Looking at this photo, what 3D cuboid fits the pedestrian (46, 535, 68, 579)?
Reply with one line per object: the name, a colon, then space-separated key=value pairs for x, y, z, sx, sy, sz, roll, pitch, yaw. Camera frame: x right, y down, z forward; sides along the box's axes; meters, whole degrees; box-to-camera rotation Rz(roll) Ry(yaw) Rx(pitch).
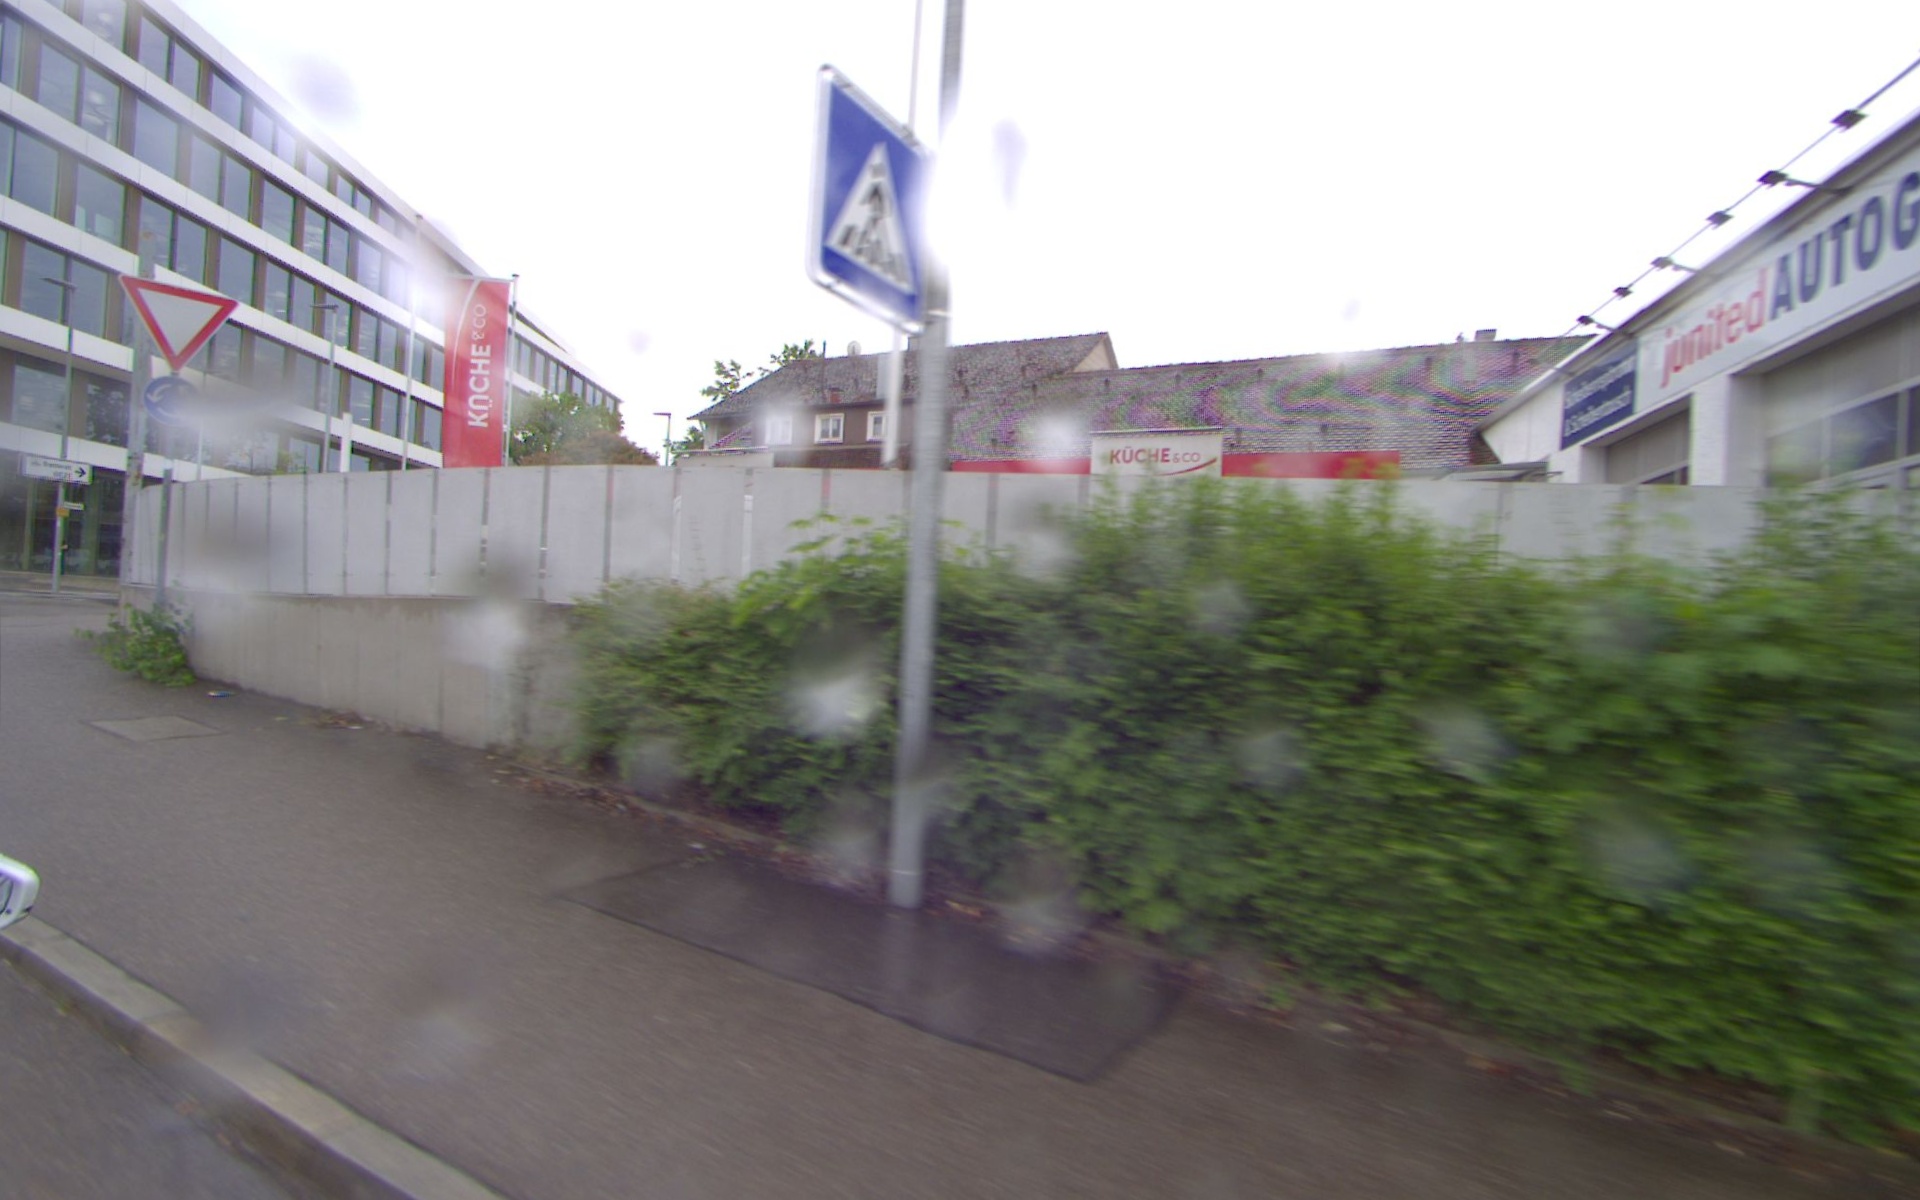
pedestrian: x=-40.024 y=-1.905 z=44.607 sx=0.591 sy=1.865 sz=0.449 roll=5 pitch=-2 yaw=-40
